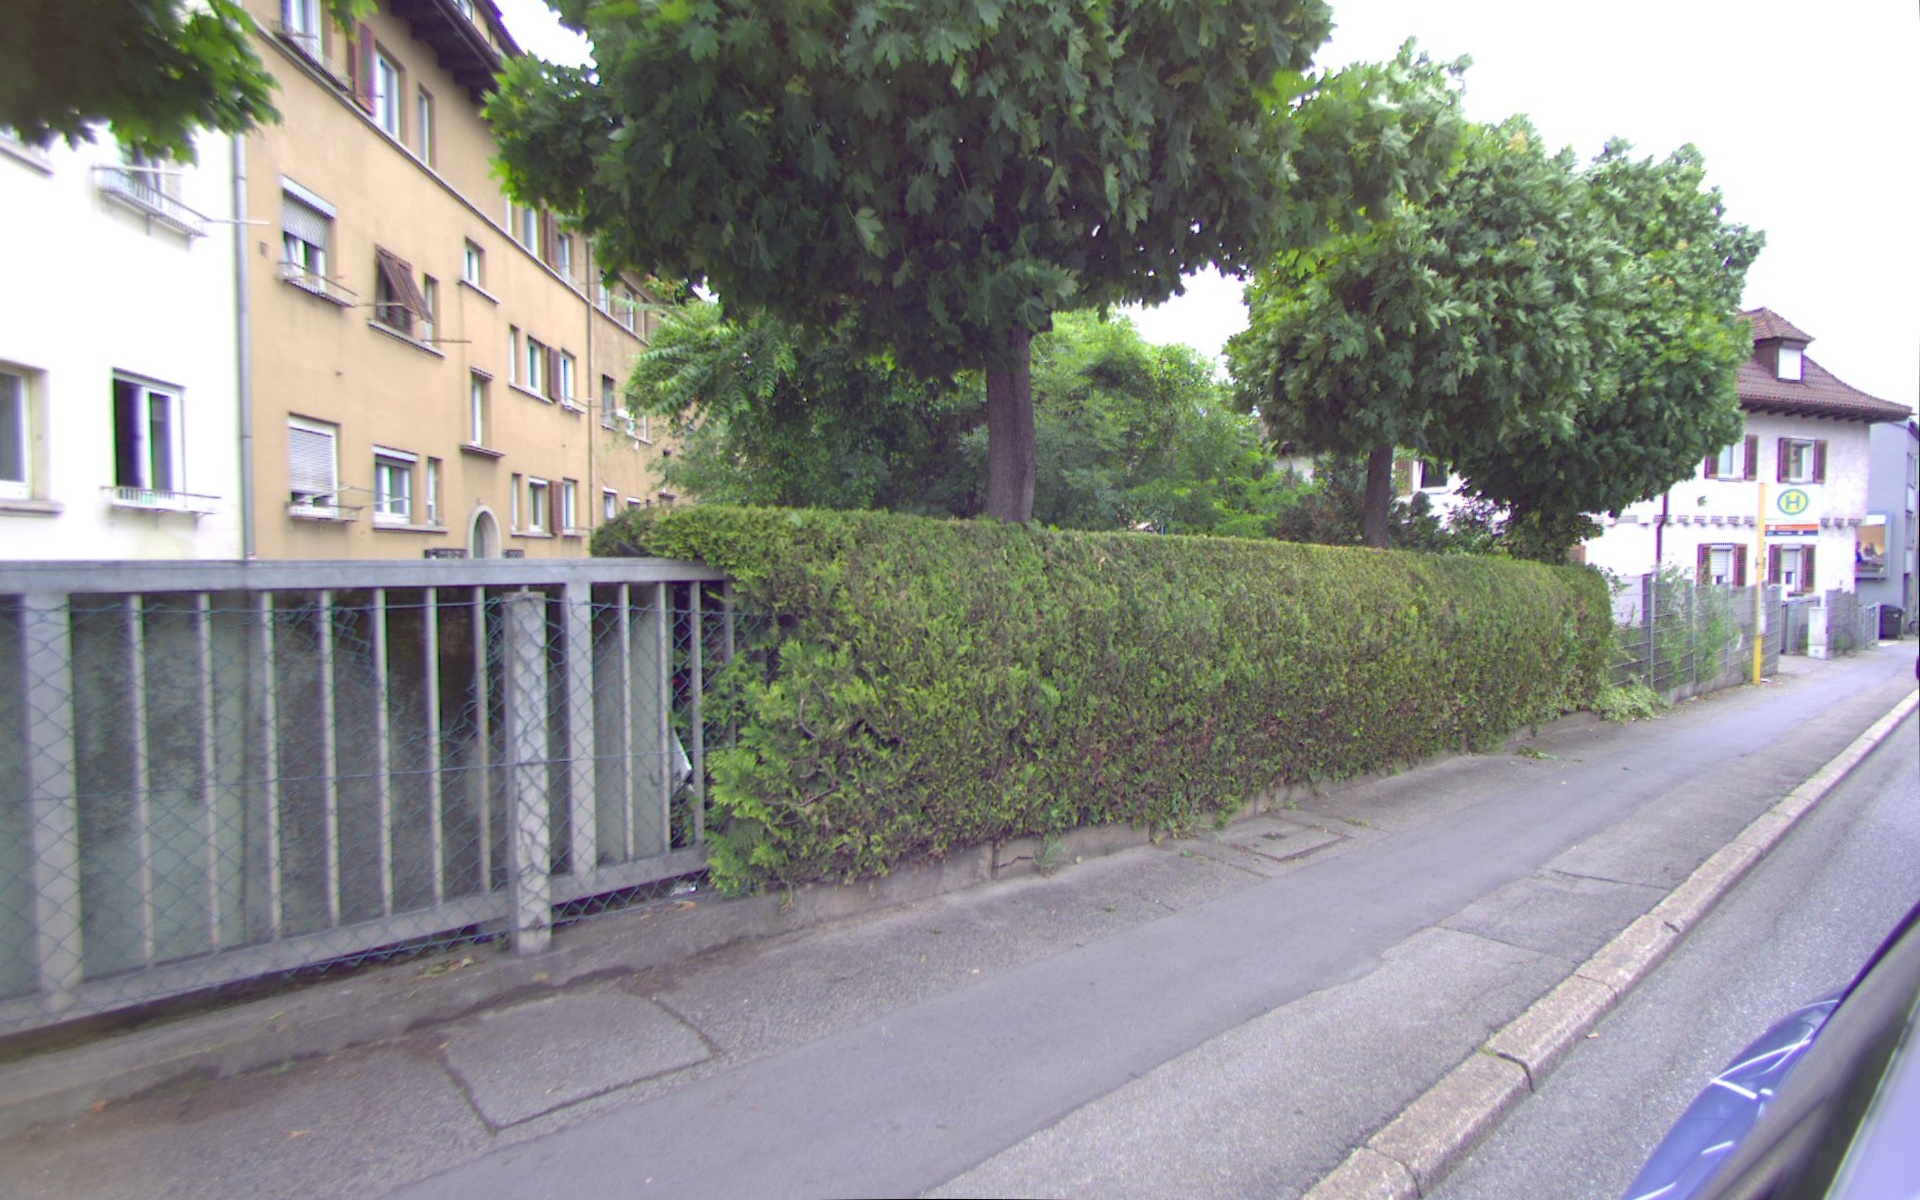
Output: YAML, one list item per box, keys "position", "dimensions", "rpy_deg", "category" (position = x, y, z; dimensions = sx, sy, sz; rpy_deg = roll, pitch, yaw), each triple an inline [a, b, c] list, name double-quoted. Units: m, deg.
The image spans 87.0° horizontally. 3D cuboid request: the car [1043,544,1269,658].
- position: [3.702, -0.007, 19.681]
  dimensions: [3.923, 2.039, 2.001]
  rpy_deg: [1, 1, -1]
  category: "car"
